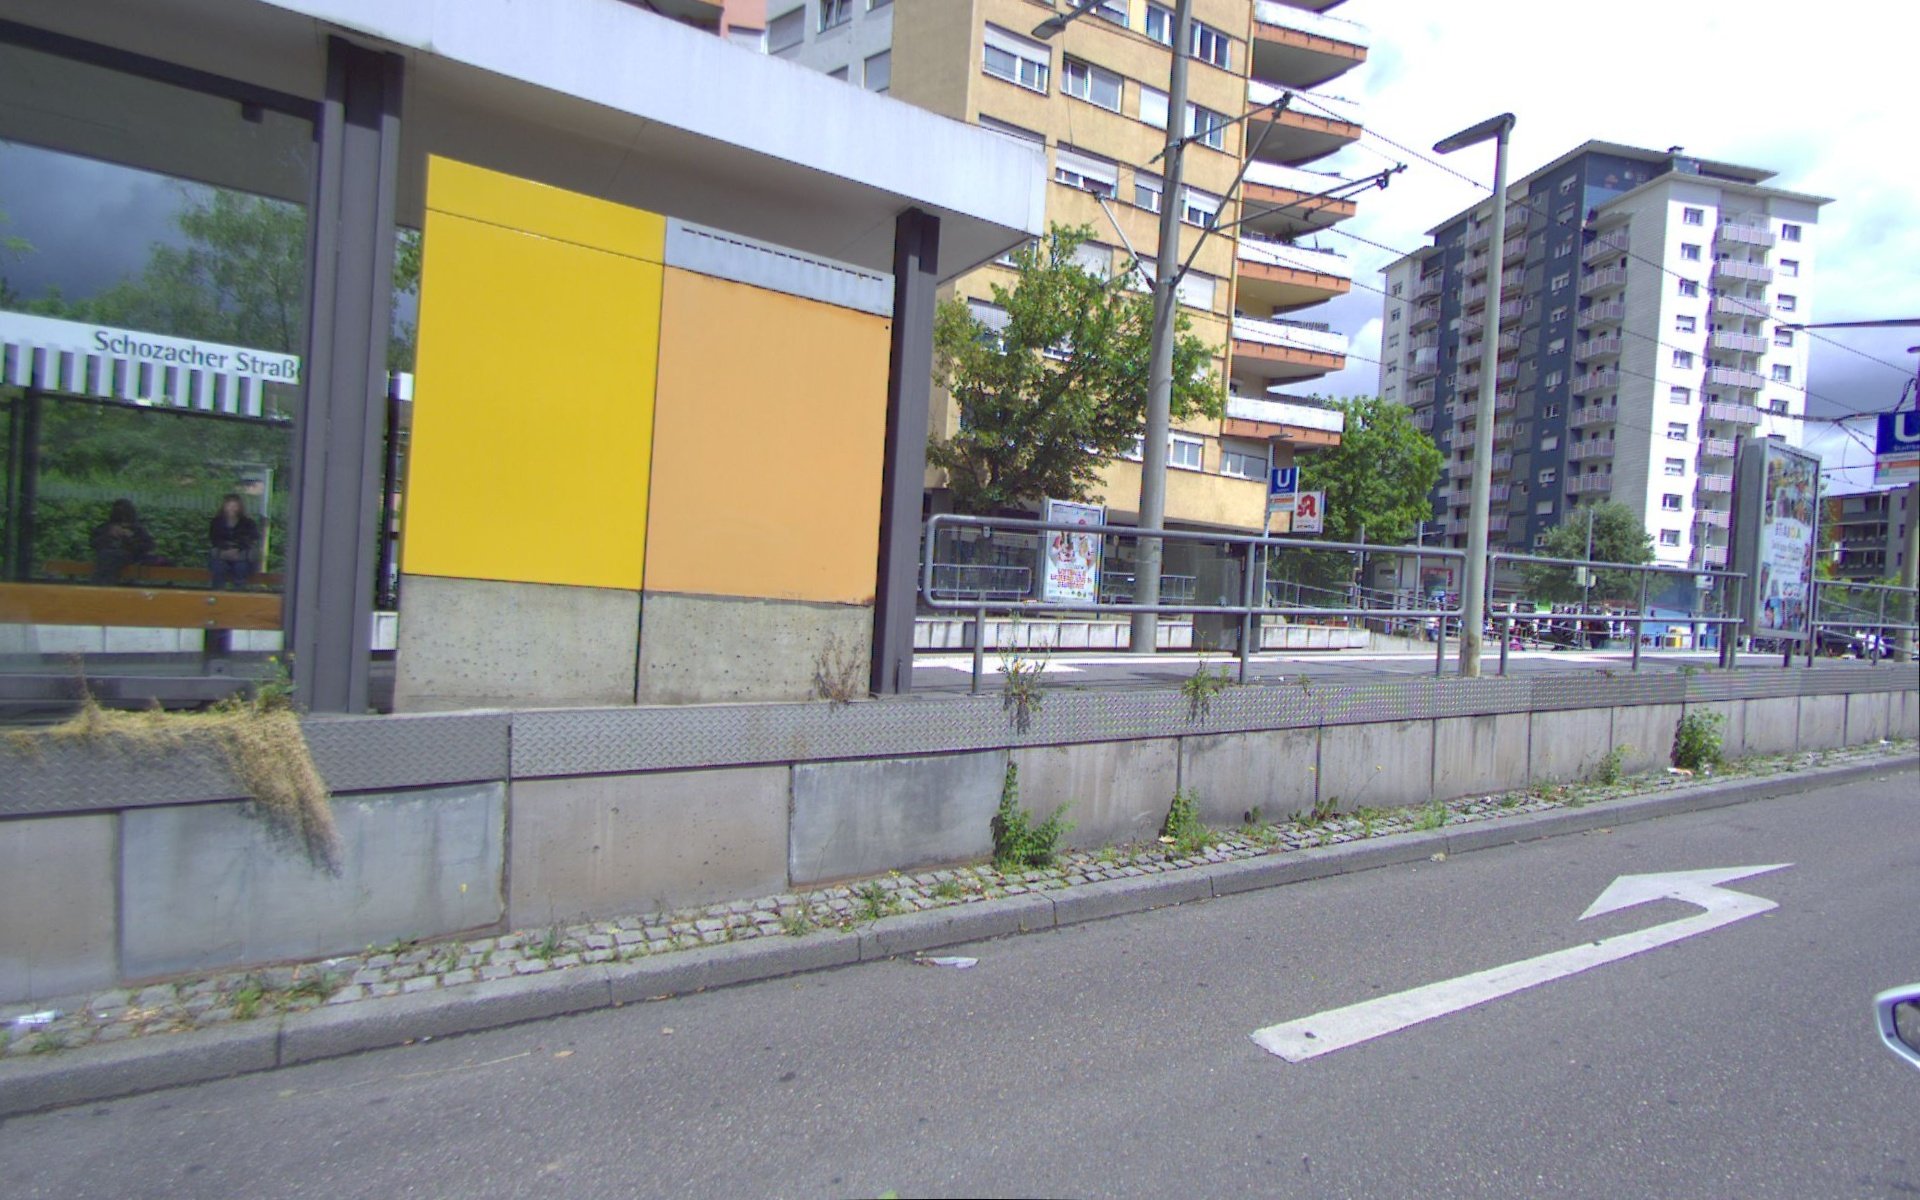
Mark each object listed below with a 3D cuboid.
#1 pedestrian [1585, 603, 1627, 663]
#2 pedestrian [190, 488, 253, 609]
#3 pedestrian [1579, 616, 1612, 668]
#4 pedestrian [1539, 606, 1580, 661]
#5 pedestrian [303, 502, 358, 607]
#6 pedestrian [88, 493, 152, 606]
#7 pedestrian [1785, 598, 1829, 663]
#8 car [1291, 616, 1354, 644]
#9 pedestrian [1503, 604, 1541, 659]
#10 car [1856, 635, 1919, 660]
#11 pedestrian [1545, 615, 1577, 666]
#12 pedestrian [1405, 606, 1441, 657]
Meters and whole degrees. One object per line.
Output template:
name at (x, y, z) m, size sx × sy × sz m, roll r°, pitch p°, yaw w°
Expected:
pedestrian at (18.959, 0.961, 29.504) m, size 0.810 × 1.729 × 0.682 m, roll 1°, pitch 0°, yaw 11°
pedestrian at (-8.775, -0.593, 11.956) m, size 0.501 × 1.387 × 0.640 m, roll 1°, pitch 0°, yaw -29°
pedestrian at (17.201, 1.127, 27.209) m, size 0.677 × 1.360 × 0.859 m, roll 1°, pitch 0°, yaw 30°
pedestrian at (18.088, 0.996, 30.316) m, size 0.618 × 1.599 × 0.851 m, roll 1°, pitch 0°, yaw -38°
pedestrian at (-7.814, -0.542, 12.488) m, size 0.511 × 1.253 × 0.739 m, roll 1°, pitch 0°, yaw -29°
pedestrian at (-9.663, -0.564, 11.552) m, size 0.539 × 1.253 × 0.515 m, roll 1°, pitch 0°, yaw -42°
pedestrian at (21.991, 0.786, 26.076) m, size 0.630 × 1.654 × 0.698 m, roll 1°, pitch -1°, yaw -30°
car at (24.026, 1.971, 66.717) m, size 1.726 × 1.702 × 3.661 m, roll 1°, pitch -1°, yaw -33°
pedestrian at (16.812, 0.926, 30.057) m, size 0.761 × 1.604 × 0.608 m, roll 1°, pitch 0°, yaw -15°
car at (60.550, 3.063, 65.031) m, size 1.602 × 1.482 × 3.576 m, roll 1°, pitch 0°, yaw -38°
pedestrian at (16.766, 1.120, 28.030) m, size 0.543 × 1.360 × 0.669 m, roll 1°, pitch 0°, yaw 12°
pedestrian at (15.905, 1.085, 34.497) m, size 0.678 × 1.719 × 0.857 m, roll 1°, pitch 0°, yaw -17°
